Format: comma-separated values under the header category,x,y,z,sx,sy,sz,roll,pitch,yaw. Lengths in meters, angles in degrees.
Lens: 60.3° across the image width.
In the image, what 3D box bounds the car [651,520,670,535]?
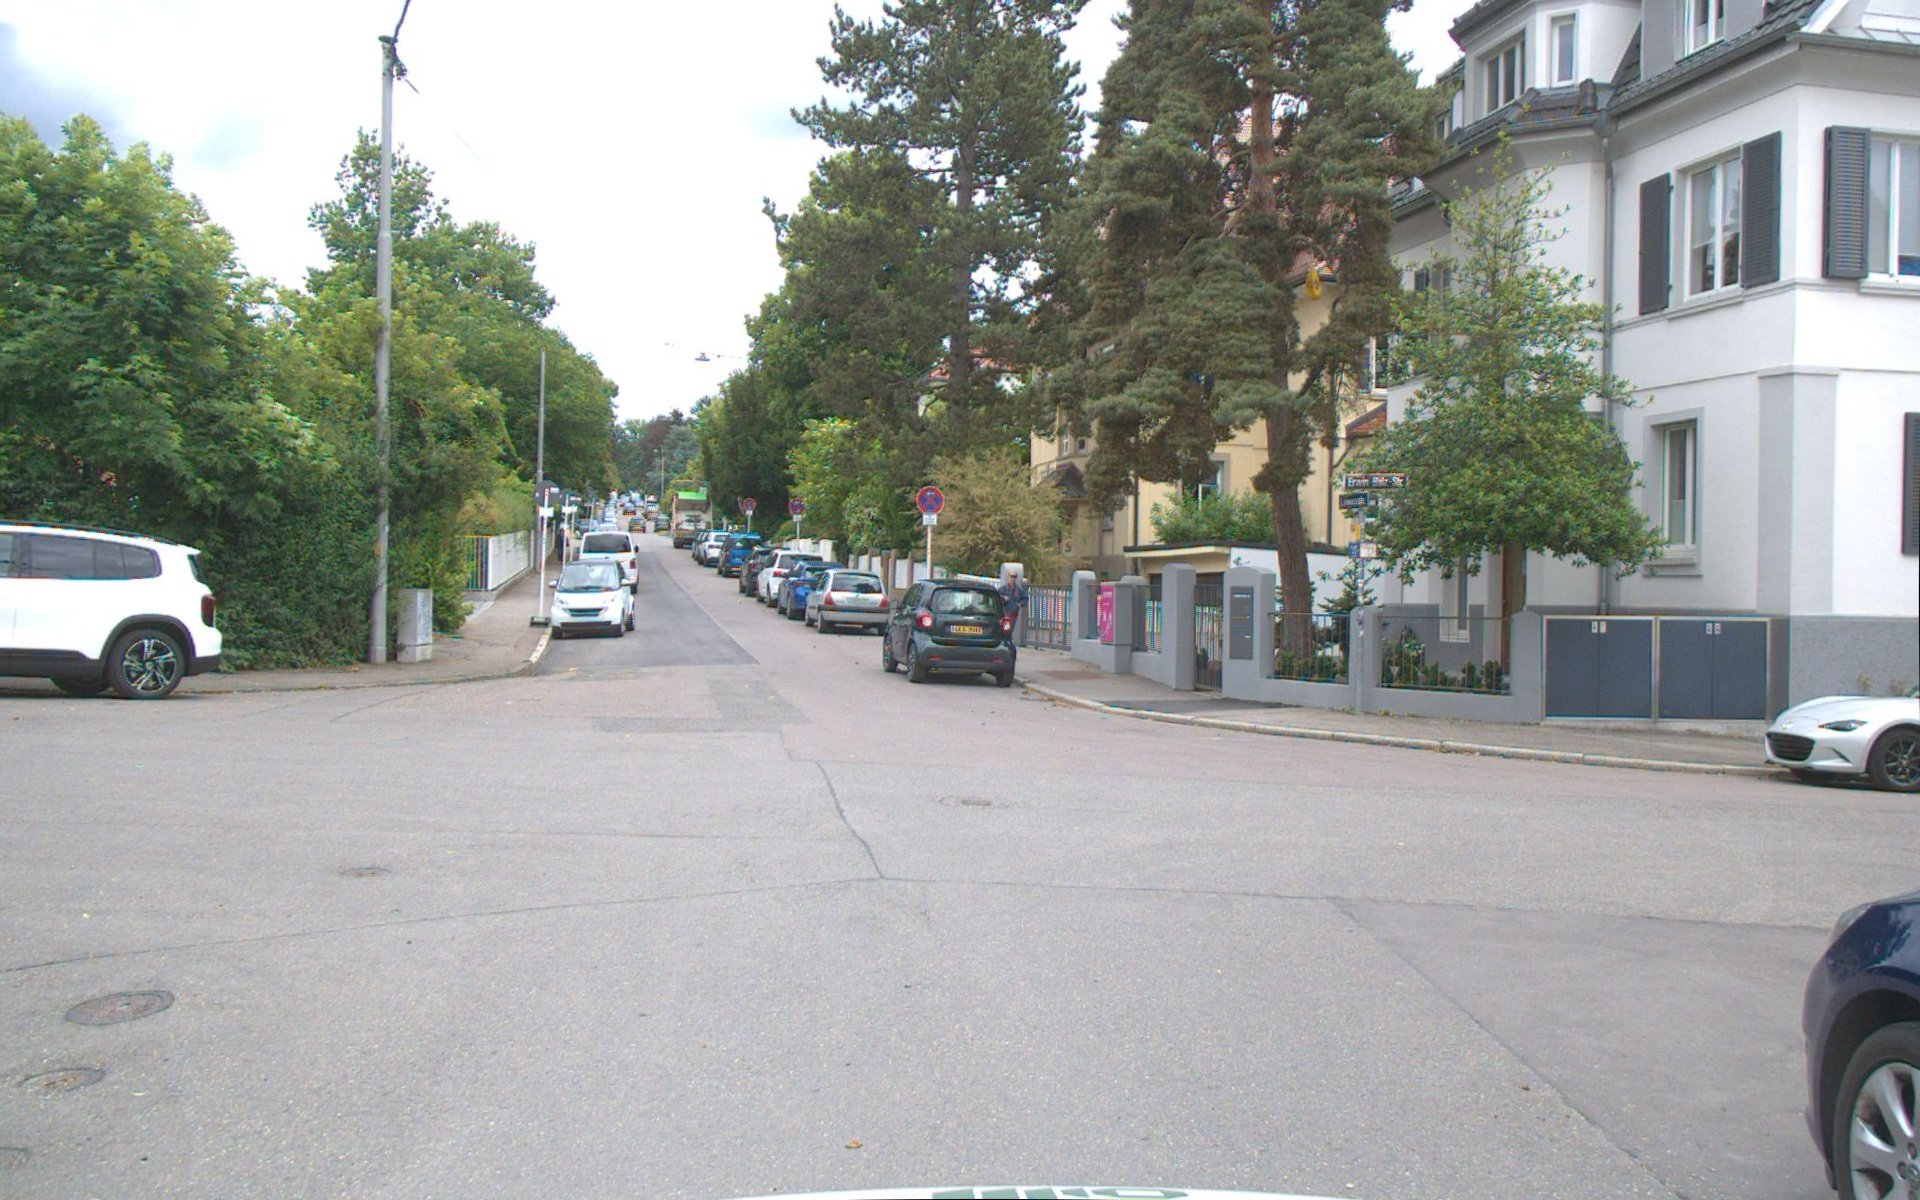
category,x,y,z,sx,sy,sz,roll,pitch,yaw
car,-32.177,-7.777,177.613,1.748,1.514,3.988,1,3,-13

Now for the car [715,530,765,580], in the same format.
category,x,y,z,sx,sy,sz,roll,pitch,yaw
car,-9.220,-1.897,69.056,1.653,1.860,4.145,3,3,-13

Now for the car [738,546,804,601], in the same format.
category,x,y,z,sx,sy,sz,roll,pitch,yaw
car,-6.302,-0.901,54.889,1.719,1.635,4.064,3,2,-12

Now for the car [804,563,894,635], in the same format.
category,x,y,z,sx,sy,sz,roll,pitch,yaw
car,-2.617,-0.052,38.243,1.546,1.424,3.646,3,2,-12

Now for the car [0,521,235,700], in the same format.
category,x,y,z,sx,sy,sz,roll,pitch,yaw
car,-9.725,0.055,16.126,1.802,1.684,4.488,3,0,41

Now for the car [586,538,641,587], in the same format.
category,x,y,z,sx,sy,sz,roll,pitch,yaw
car,-12.544,-1.394,59.734,1.760,1.651,4.328,0,3,-14

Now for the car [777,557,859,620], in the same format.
category,x,y,z,sx,sy,sz,roll,pitch,yaw
car,-3.750,-0.333,43.088,1.618,1.483,4.041,2,1,-12

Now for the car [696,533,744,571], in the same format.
category,x,y,z,sx,sy,sz,roll,pitch,yaw
car,-11.581,-2.333,79.578,1.728,1.633,4.557,2,2,-15

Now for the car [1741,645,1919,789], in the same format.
category,x,y,z,sx,sy,sz,roll,pitch,yaw
car,9.729,1.167,16.139,3.398,1.283,1.670,3,-2,-1

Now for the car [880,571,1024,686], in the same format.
category,x,y,z,sx,sy,sz,roll,pitch,yaw
car,-0.179,0.411,26.050,1.545,1.558,2.858,3,2,-15

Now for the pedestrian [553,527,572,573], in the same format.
category,x,y,z,sx,sy,sz,roll,pitch,yaw
pedestrian,-18.149,-2.276,75.517,0.797,2.048,0.858,1,2,-11

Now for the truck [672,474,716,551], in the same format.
category,x,y,z,sx,sy,sz,roll,pitch,yaw
truck,-17.633,-5.793,109.440,2.479,4.830,7.169,2,2,-11

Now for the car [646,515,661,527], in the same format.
category,x,y,z,sx,sy,sz,roll,pitch,yaw
car,-40.795,-10.534,220.054,1.779,1.358,3.622,3,4,-13

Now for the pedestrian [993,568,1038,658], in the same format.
category,x,y,z,sx,sy,sz,roll,pitch,yaw
pedestrian,1.010,0.230,30.171,0.668,1.604,0.905,-1,0,-6

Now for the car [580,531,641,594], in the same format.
category,x,y,z,sx,sy,sz,roll,pitch,yaw
car,-11.384,-1.279,53.983,1.822,1.946,4.607,-1,3,-12

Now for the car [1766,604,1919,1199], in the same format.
category,x,y,z,sx,sy,sz,roll,pitch,yaw
car,3.028,0.796,2.084,1.782,1.512,4.284,1,0,-2

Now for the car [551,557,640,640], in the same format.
category,x,y,z,sx,sy,sz,roll,pitch,yaw
car,-7.667,-0.074,34.973,1.414,1.579,2.767,-2,3,-5

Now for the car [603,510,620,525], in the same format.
category,x,y,z,sx,sy,sz,roll,pitch,yaw
car,-41.017,-9.721,194.737,1.680,1.613,3.993,2,3,-9

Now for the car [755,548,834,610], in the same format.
category,x,y,z,sx,sy,sz,roll,pitch,yaw
car,-4.966,-0.658,49.221,1.754,1.631,4.291,3,2,-13

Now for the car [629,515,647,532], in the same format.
category,x,y,z,sx,sy,sz,roll,pitch,yaw
car,-33.320,-7.924,171.100,1.605,1.730,3.484,2,3,-13
